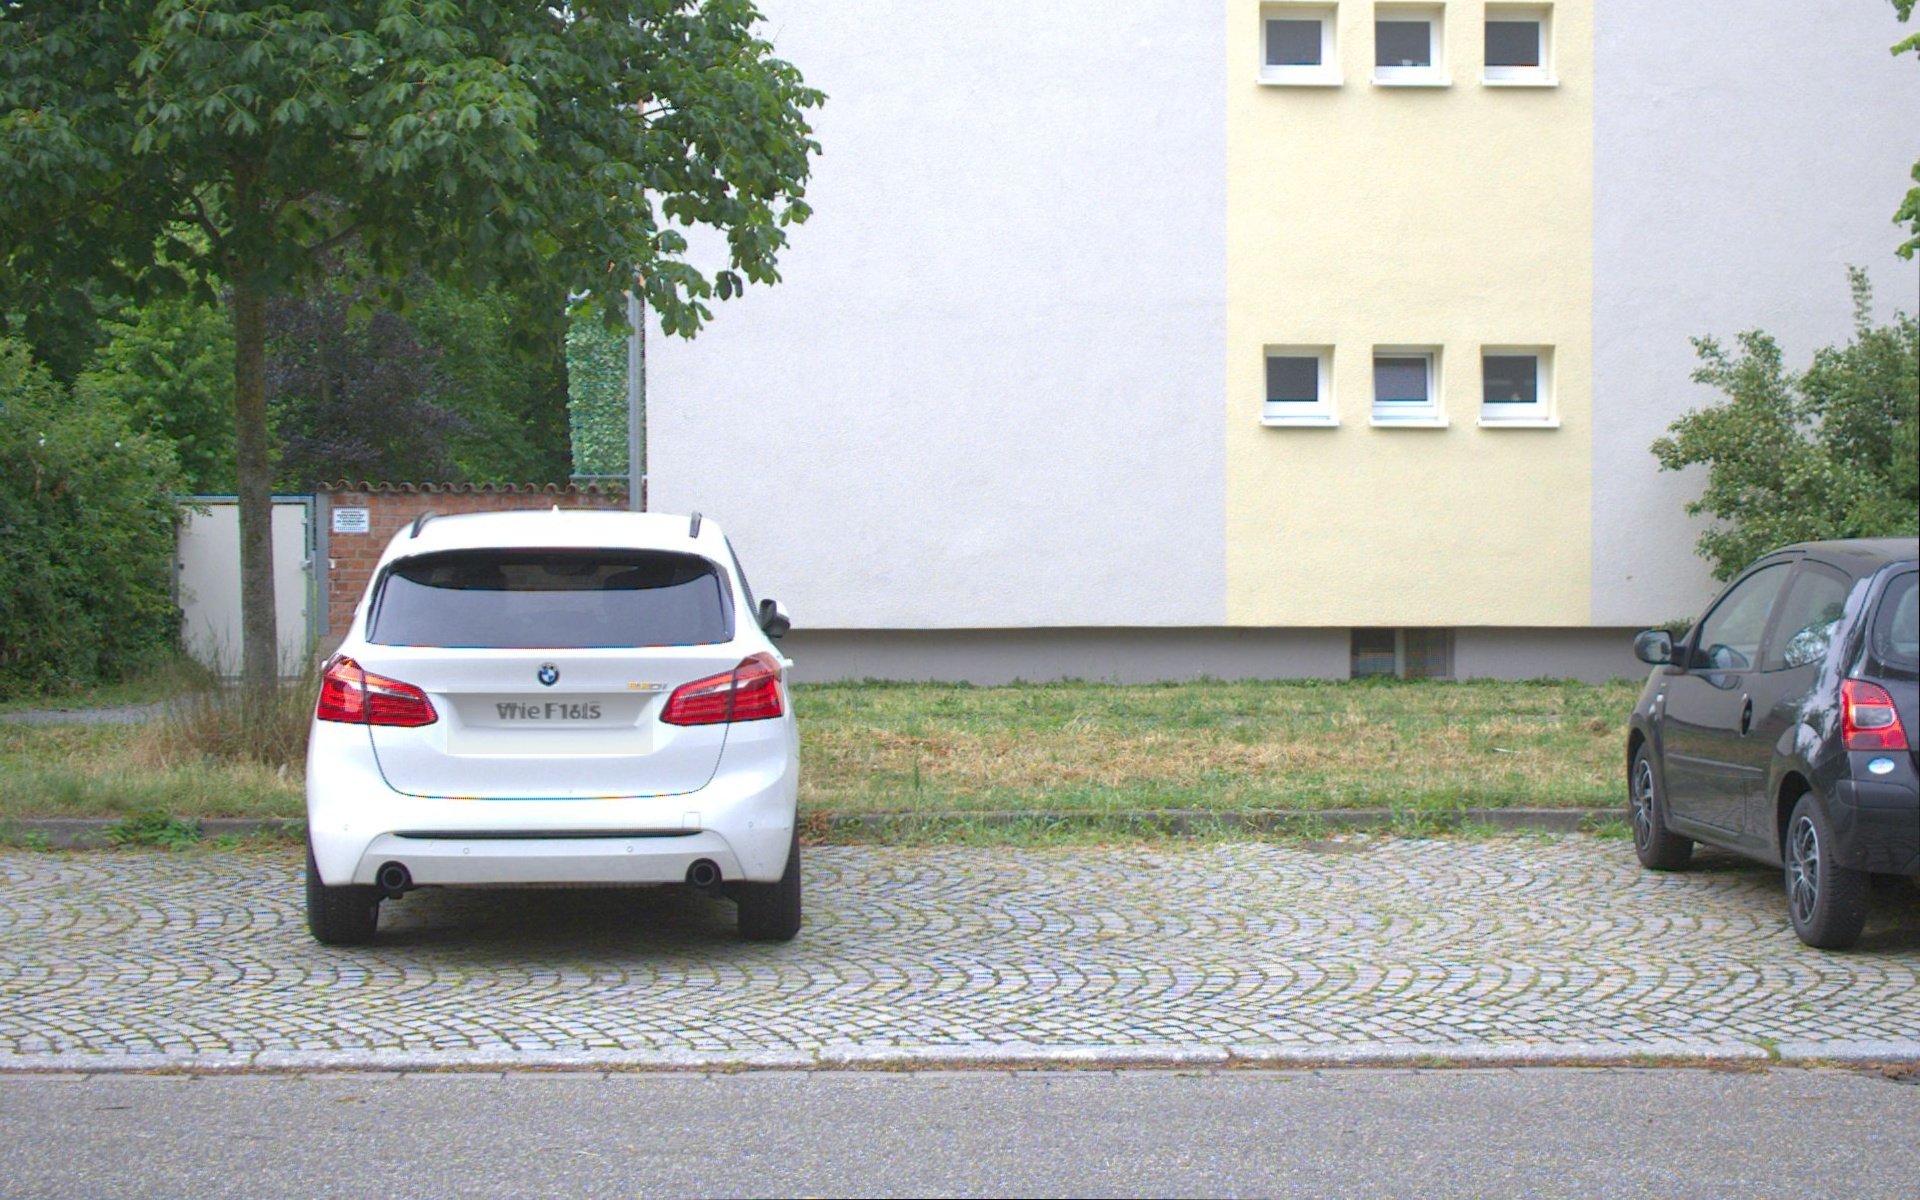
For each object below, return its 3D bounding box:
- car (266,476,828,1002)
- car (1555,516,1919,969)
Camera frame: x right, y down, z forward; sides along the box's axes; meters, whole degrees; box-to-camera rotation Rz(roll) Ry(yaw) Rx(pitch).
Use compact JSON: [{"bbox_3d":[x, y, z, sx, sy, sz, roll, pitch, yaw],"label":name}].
[{"bbox_3d":[-1.533,0.410,13.779,1.878,1.555,4.150,1,5,-4],"label":"car"},{"bbox_3d":[3.767,0.443,14.160,1.835,1.458,4.561,0,3,0],"label":"car"}]
